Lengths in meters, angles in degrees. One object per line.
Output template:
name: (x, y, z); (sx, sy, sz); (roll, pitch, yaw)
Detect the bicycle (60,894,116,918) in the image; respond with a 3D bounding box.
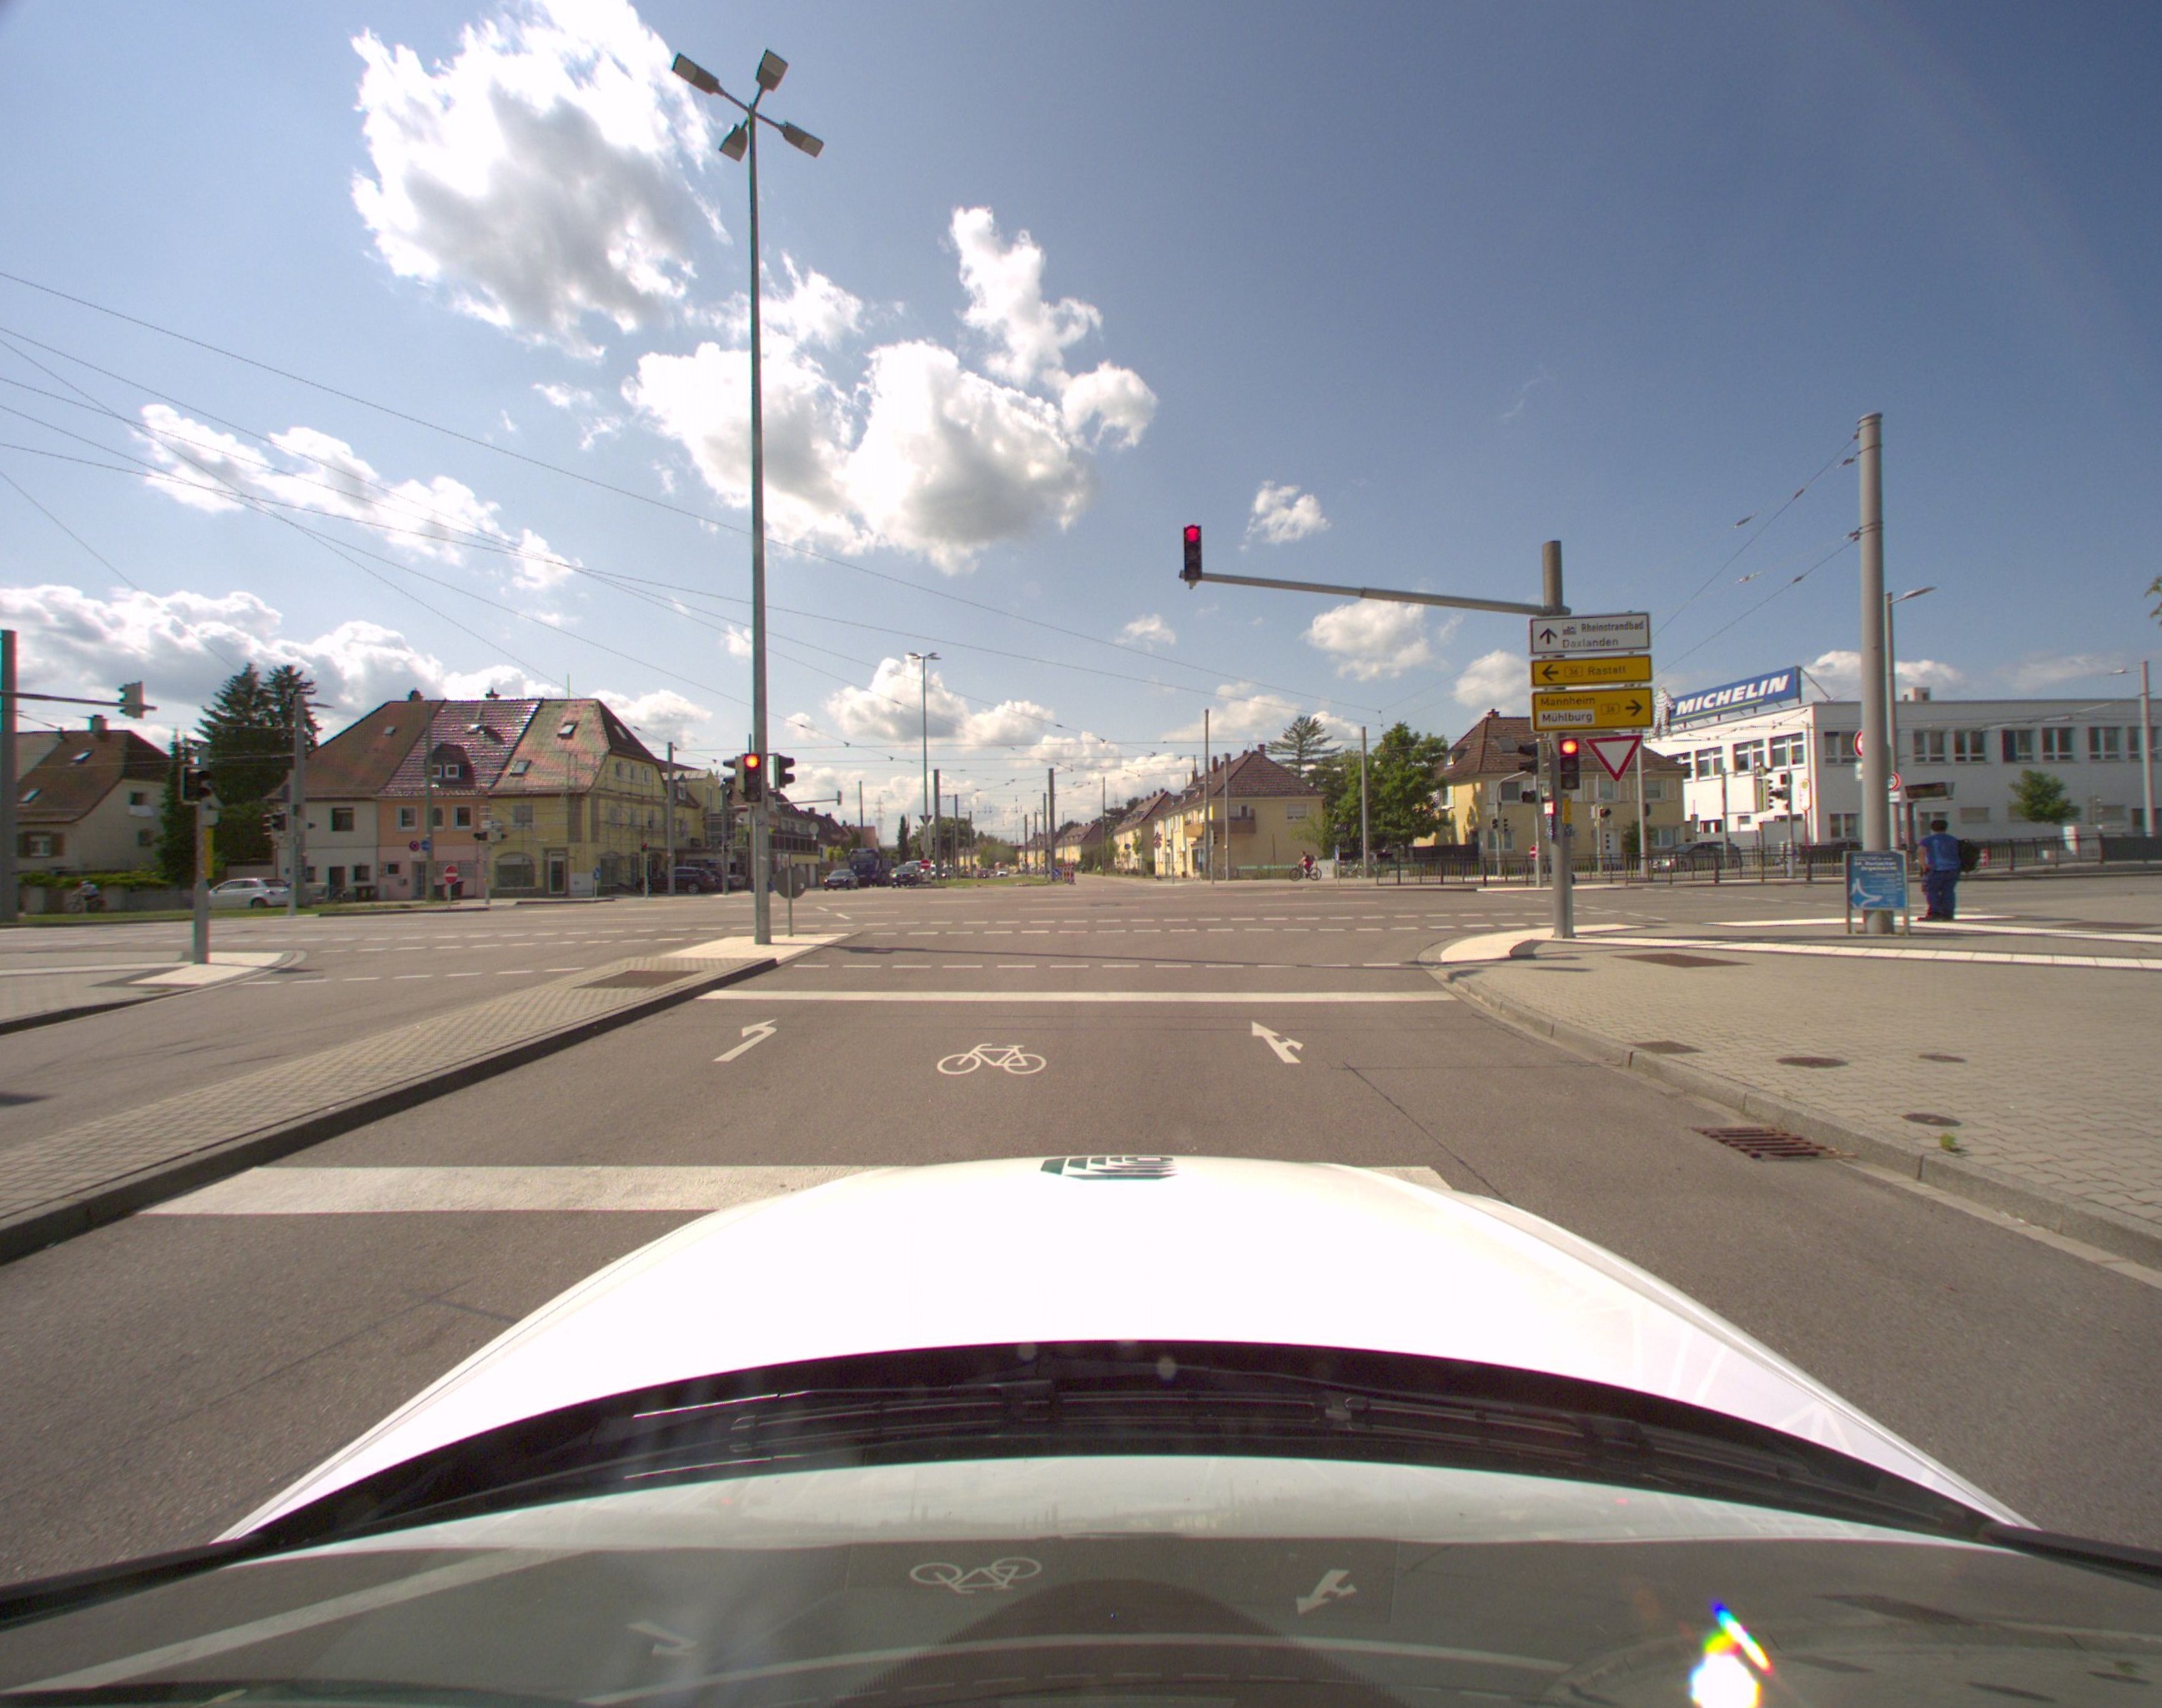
bicycle: (-50.612, 2.646, 41.506); (1.894, 1.078, 0.694); (-1, 0, -2)

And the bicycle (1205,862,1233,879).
bicycle: (9.398, 1.136, 55.554); (0.597, 1.096, 2.254); (-1, -1, -31)

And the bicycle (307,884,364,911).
bicycle: (-40.806, 2.351, 44.628); (0.770, 1.356, 2.460); (0, -1, 3)

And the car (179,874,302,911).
car: (-36.548, 1.663, 35.471); (3.533, 1.508, 1.583); (0, -1, -4)

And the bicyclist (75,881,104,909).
bicyclist: (-50.570, 2.069, 41.527); (0.720, 1.398, 0.577); (-1, 0, -2)

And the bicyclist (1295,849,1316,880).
bicyclist: (13.163, 0.642, 47.793); (0.955, 1.775, 0.719); (-1, -1, -3)

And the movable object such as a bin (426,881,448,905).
movable object such as a bin: (-35.376, 2.132, 44.758); (0.680, 1.260, 0.681); (0, -1, -2)

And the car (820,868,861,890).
car: (-17.237, 1.788, 58.629); (1.824, 1.487, 4.328); (-1, -1, -3)

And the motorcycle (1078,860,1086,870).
motorcycle: (0.186, 1.838, 132.236); (1.065, 1.635, 2.079); (-1, -1, -6)

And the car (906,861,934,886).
car: (-13.106, 1.539, 66.433); (1.812, 1.922, 4.737); (-1, -1, -6)

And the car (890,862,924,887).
car: (-12.780, 1.501, 60.005); (1.783, 1.720, 4.434); (-1, 0, -5)

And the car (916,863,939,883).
car: (-13.979, 1.733, 74.328); (1.731, 1.782, 4.395); (-2, -1, -6)

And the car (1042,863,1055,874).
car: (-6.388, 2.775, 157.620); (2.064, 2.149, 4.865); (-1, -1, -8)

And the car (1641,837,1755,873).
car: (28.960, 0.063, 38.304); (3.974, 1.568, 1.842); (-2, -1, -1)

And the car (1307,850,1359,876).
car: (16.974, 0.657, 55.131); (1.821, 1.621, 3.989); (-1, -2, -8)

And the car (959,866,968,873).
car: (-35.238, 4.597, 244.553); (2.000, 1.910, 3.973); (-1, 0, -20)

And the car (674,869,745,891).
car: (-25.394, 1.789, 55.755); (4.129, 1.493, 1.431); (0, -1, -7)

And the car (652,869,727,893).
car: (-25.450, 1.732, 53.043); (4.129, 1.493, 1.504); (0, -1, -7)

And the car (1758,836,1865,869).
car: (34.917, -0.066, 38.956); (3.698, 1.446, 1.576); (-2, -1, -1)

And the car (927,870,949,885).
car: (-14.254, 2.336, 81.277); (1.912, 1.419, 3.991); (-1, -1, -6)

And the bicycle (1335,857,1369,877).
bicycle: (16.045, 0.778, 48.217); (1.785, 1.105, 0.707); (-2, -1, 41)

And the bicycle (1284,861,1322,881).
bicycle: (12.977, 0.993, 47.640); (2.023, 1.102, 0.714); (-1, -1, -4)

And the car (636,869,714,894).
car: (-25.088, 1.710, 50.357); (4.129, 1.493, 1.176); (0, -1, -7)

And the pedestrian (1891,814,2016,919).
pedestrian: (15.150, 0.217, 14.171); (1.027, 1.735, 1.040); (-1, 0, -2)

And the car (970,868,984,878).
car: (-16.492, 2.941, 129.348); (1.840, 1.494, 4.847); (-2, -1, -5)

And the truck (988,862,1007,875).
truck: (-22.410, 3.913, 218.292); (2.651, 3.494, 9.368); (-1, -1, -21)

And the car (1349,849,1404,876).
car: (19.764, 0.588, 54.700); (1.821, 1.621, 3.989); (-1, -2, -8)

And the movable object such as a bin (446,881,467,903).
movable object such as a bin: (-35.351, 2.143, 46.094); (0.680, 1.260, 0.681); (0, -1, -2)

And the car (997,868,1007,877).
car: (-15.080, 3.586, 156.359); (1.840, 1.562, 4.180); (-2, -1, -5)

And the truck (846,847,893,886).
truck: (-18.162, 1.095, 70.270); (2.765, 3.188, 7.565); (-1, -1, -6)
